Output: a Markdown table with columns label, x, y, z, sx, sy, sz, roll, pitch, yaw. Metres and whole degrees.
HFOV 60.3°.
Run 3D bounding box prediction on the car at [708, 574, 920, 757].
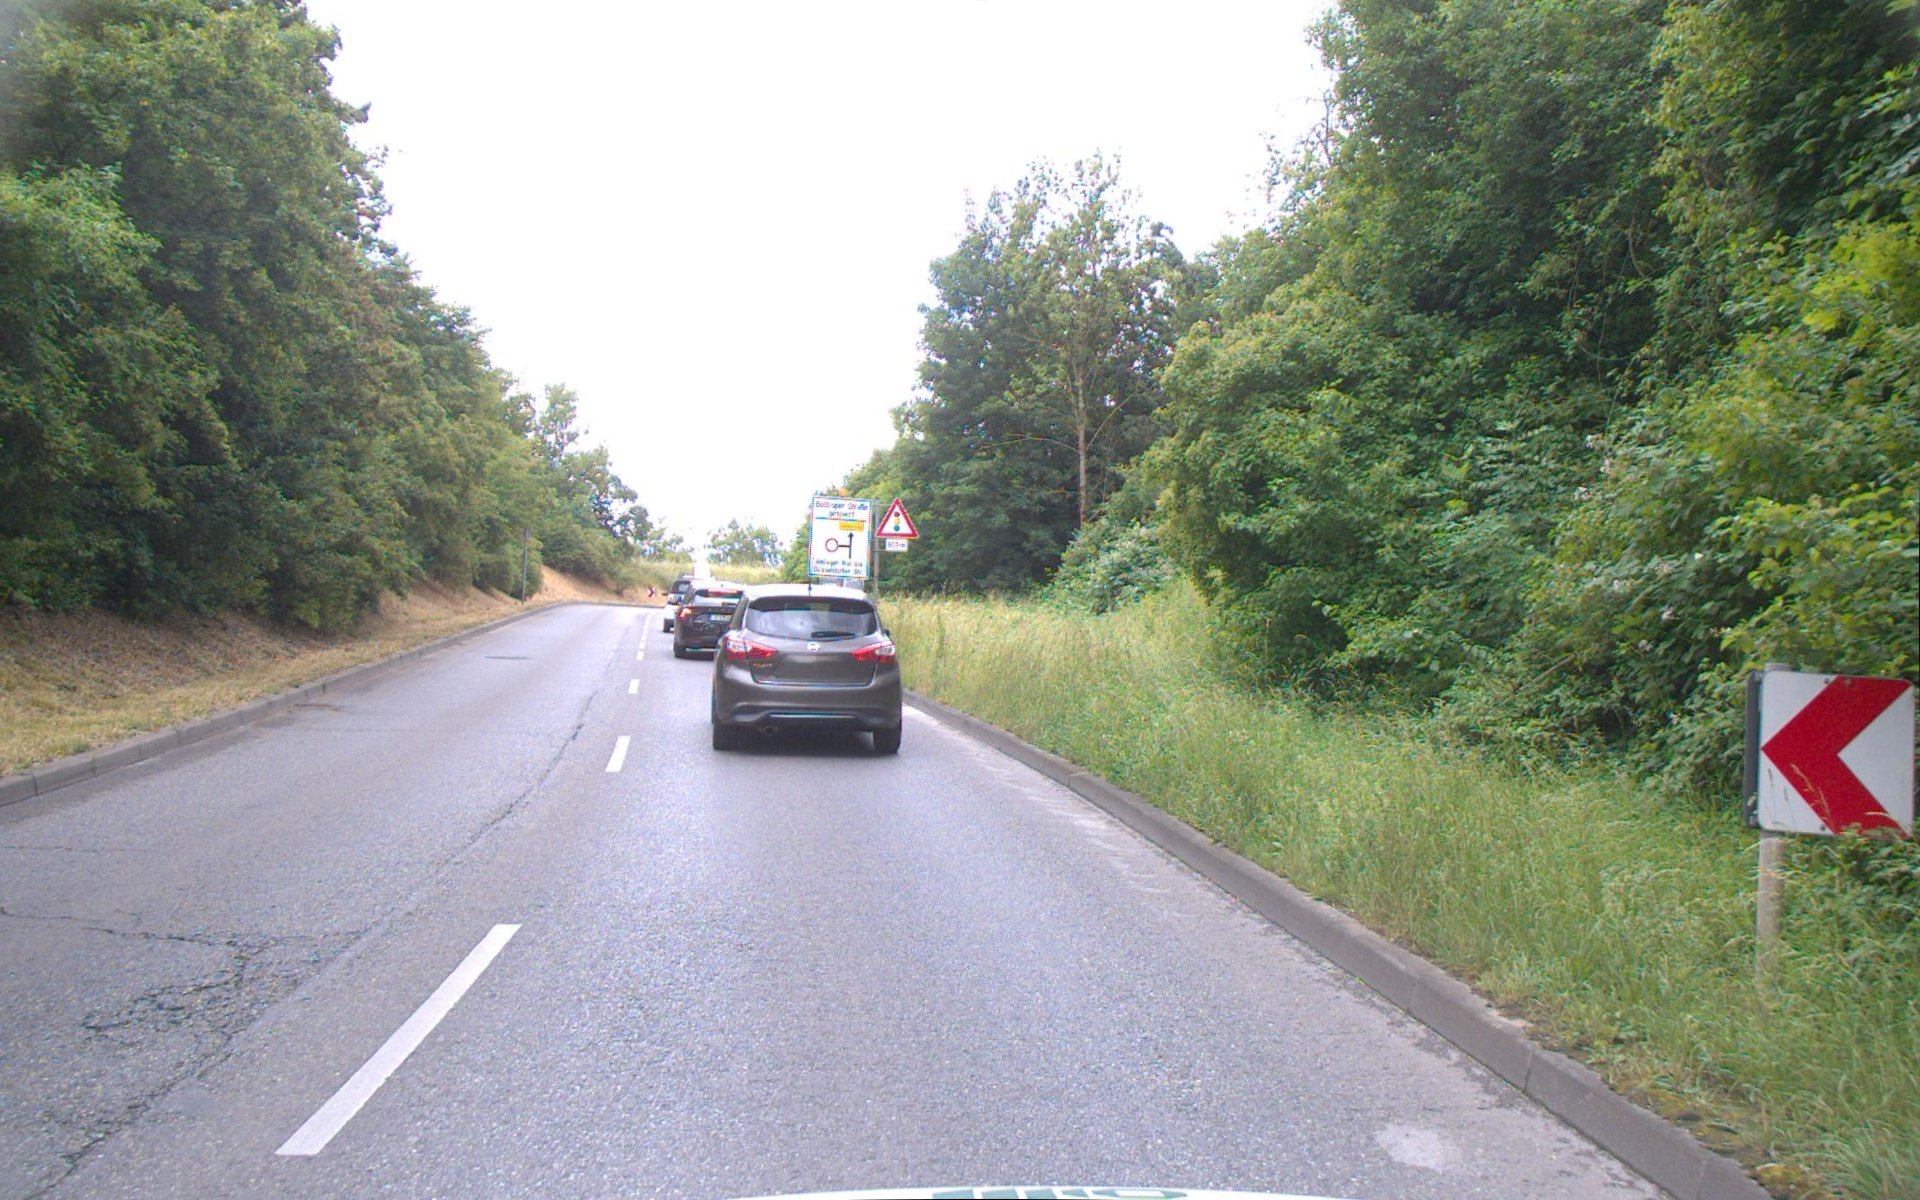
| label | x | y | z | sx | sy | sz | roll | pitch | yaw |
| --- | --- | --- | --- | --- | --- | --- | --- | --- | --- |
| car | -1.542 | 0.564 | 16.344 | 1.797 | 1.583 | 3.491 | 1 | 0 | -10 |

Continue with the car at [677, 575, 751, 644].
| label | x | y | z | sx | sy | sz | roll | pitch | yaw |
| --- | --- | --- | --- | --- | --- | --- | --- | --- | --- |
| car | -6.092 | 0.204 | 40.709 | 1.704 | 1.583 | 3.535 | 1 | 1 | -10 |

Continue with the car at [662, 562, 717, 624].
| label | x | y | z | sx | sy | sz | roll | pitch | yaw |
| --- | --- | --- | --- | --- | --- | --- | --- | --- | --- |
| car | -9.015 | -0.241 | 55.016 | 1.704 | 1.968 | 3.535 | 1 | 0 | -10 |

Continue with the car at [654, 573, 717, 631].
| label | x | y | z | sx | sy | sz | roll | pitch | yaw |
| --- | --- | --- | --- | --- | --- | --- | --- | --- | --- |
| car | -7.926 | 0.040 | 47.807 | 1.704 | 1.583 | 3.535 | 1 | 1 | -10 |

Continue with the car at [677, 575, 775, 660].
| label | x | y | z | sx | sy | sz | roll | pitch | yaw |
| --- | --- | --- | --- | --- | --- | --- | --- | --- | --- |
| car | -4.712 | 0.317 | 32.998 | 1.797 | 1.583 | 3.616 | 1 | 1 | -10 |
